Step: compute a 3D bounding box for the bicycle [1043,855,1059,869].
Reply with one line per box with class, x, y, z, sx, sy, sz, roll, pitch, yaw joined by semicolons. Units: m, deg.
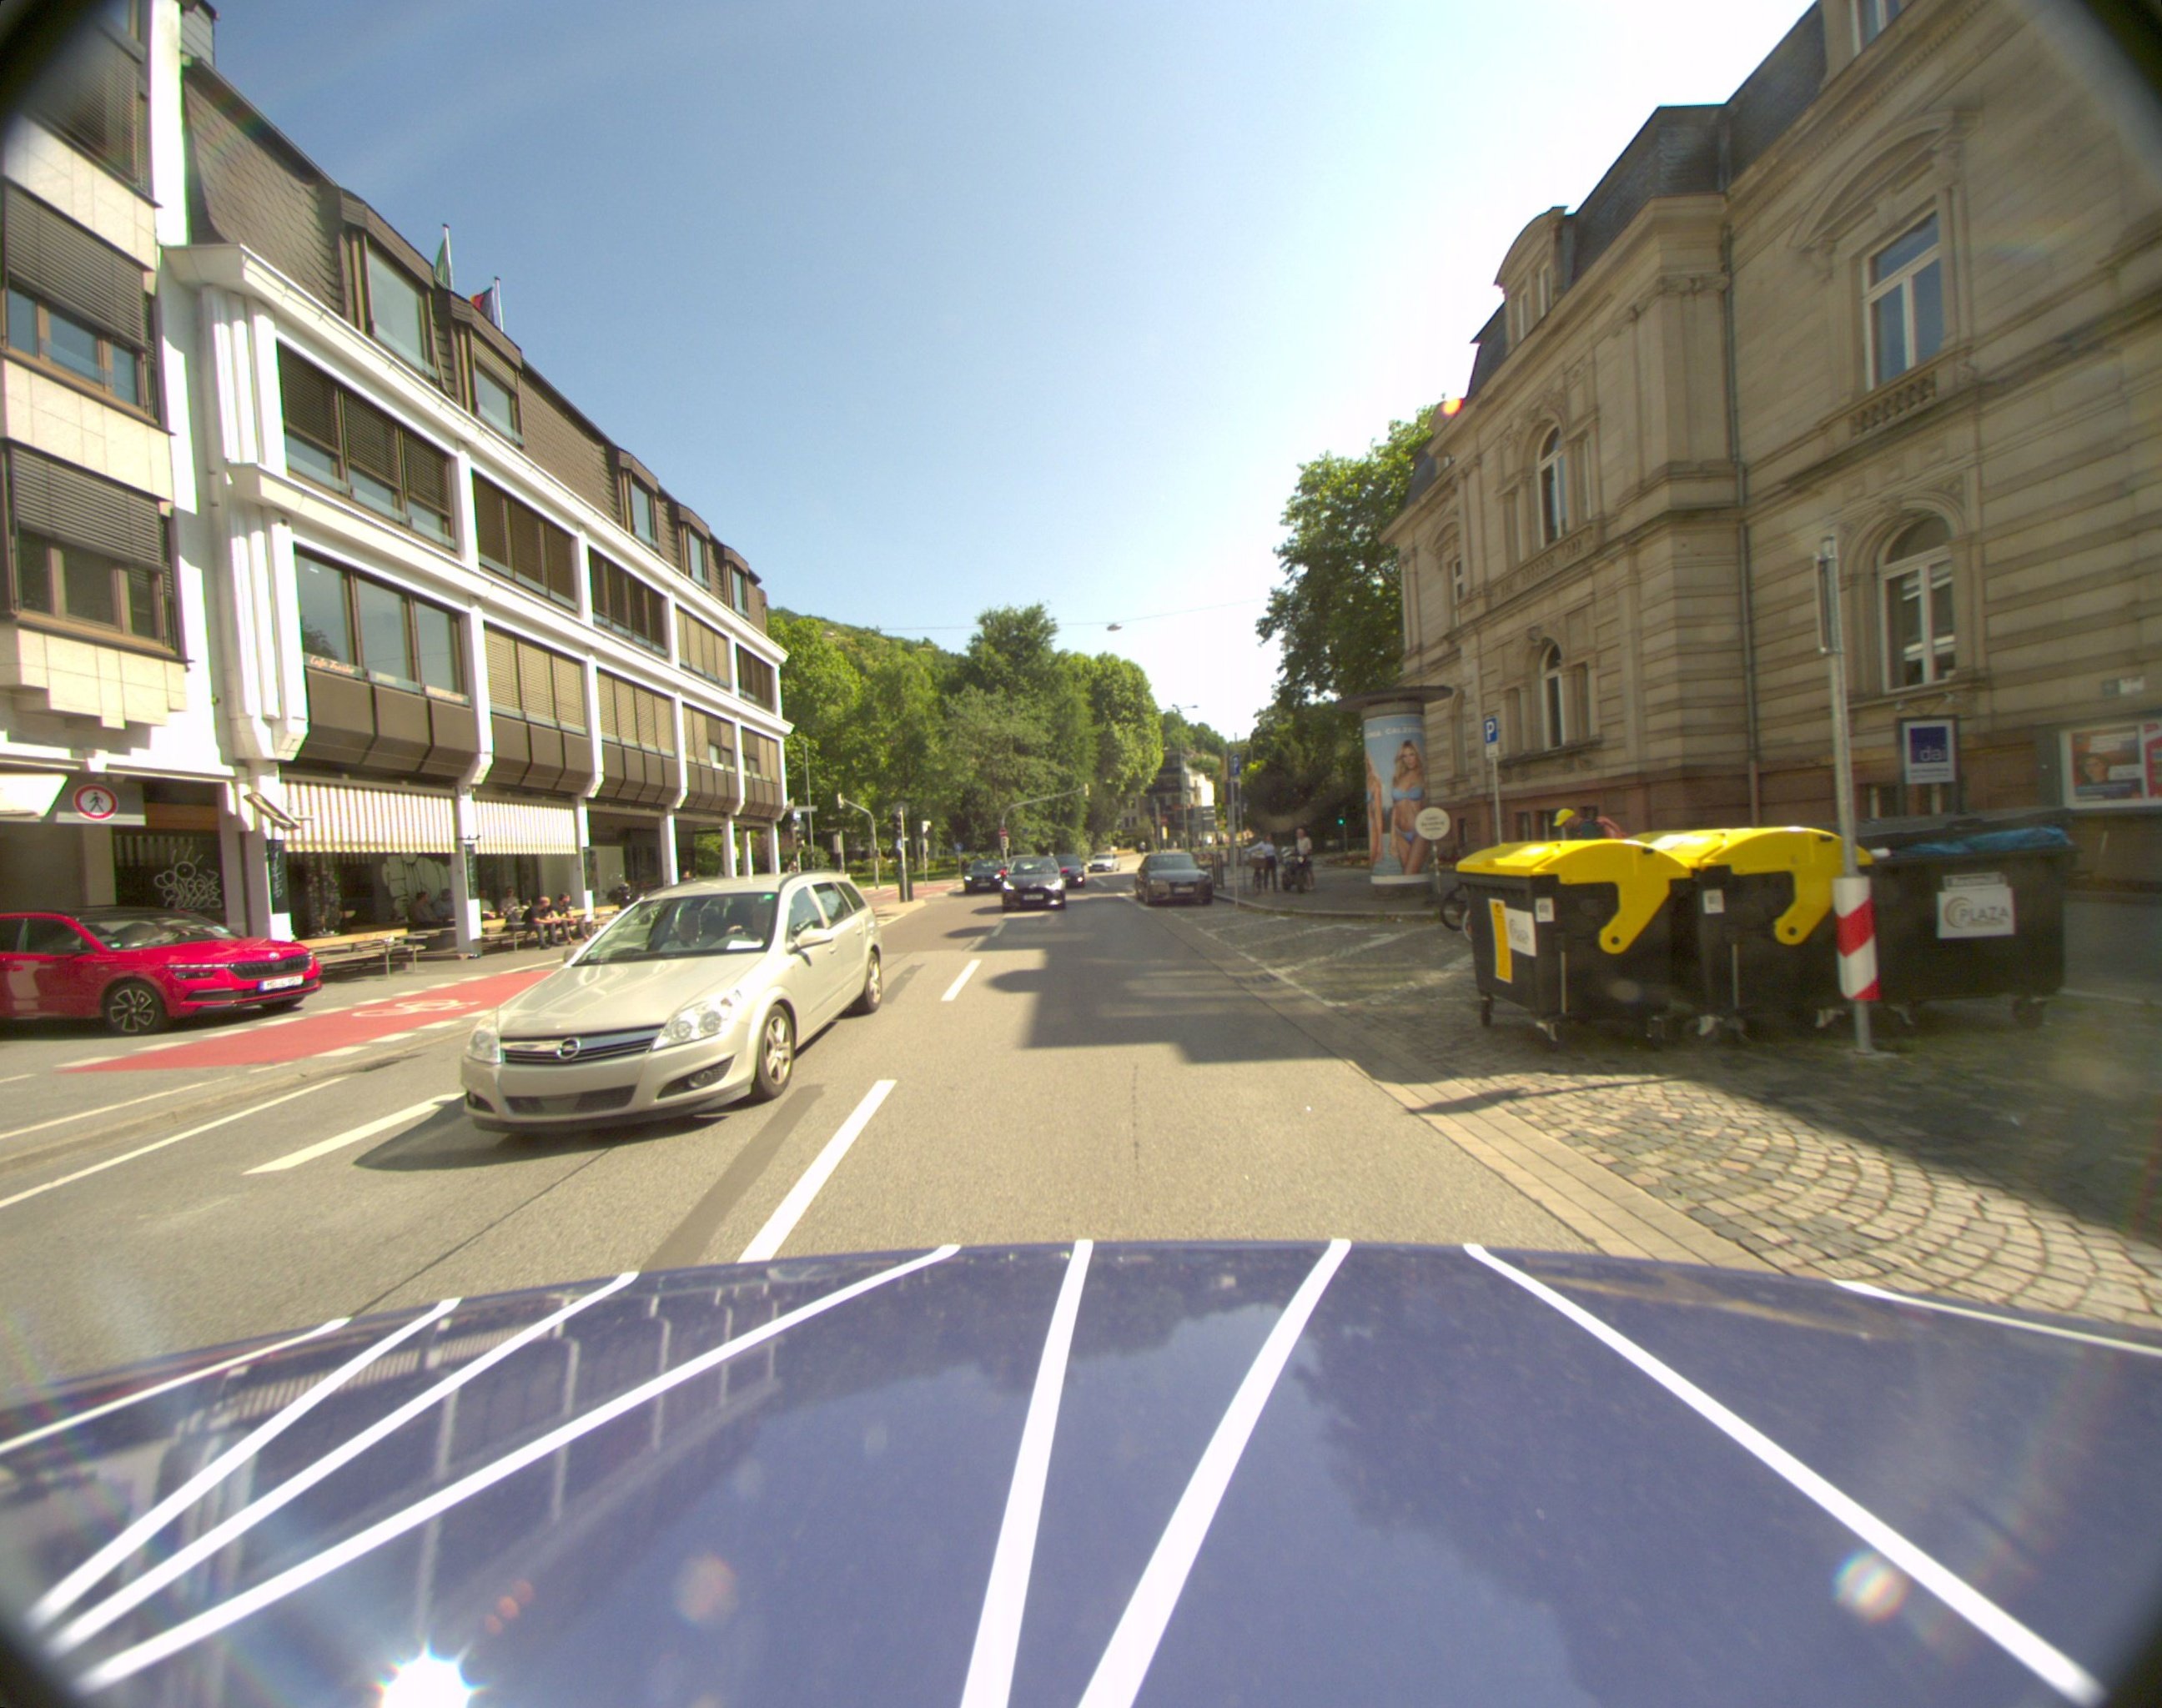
bicycle;-2.584;0.655;66.184;0.782;1.114;1.679;-3;1;19

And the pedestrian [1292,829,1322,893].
pedestrian;6.101;0.163;20.542;0.550;1.656;0.937;-3;2;7

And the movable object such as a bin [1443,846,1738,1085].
movable object such as a bin;3.577;0.720;5.553;1.126;1.442;1.439;-5;0;5

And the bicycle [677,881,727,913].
bicycle;-14.188;1.620;28.457;1.720;1.114;0.278;-2;1;6

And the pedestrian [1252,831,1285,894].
pedestrian;5.199;0.234;21.095;0.696;1.686;0.690;-3;2;1

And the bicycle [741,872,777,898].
bicycle;-14.006;1.334;33.110;0.308;1.059;1.474;-2;1;34

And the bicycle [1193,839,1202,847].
bicycle;17.668;-1.671;115.117;0.758;1.114;2.004;-2;3;26

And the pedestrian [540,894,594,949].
pedestrian;-12.329;1.610;18.234;0.712;1.210;0.697;-3;2;7

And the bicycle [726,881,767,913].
bicycle;-13.015;1.651;29.638;0.277;1.114;2.244;-3;0;7

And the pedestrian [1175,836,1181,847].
pedestrian;15.112;-1.978;118.213;0.710;1.663;0.535;-3;2;19

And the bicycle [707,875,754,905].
bicycle;-16.370;1.667;35.501;1.862;1.309;0.529;-3;0;-40

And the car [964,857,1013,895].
car;-4.056;0.915;34.011;1.849;1.421;4.210;-3;1;-3

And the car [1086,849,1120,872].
car;1.668;0.456;56.970;1.940;1.421;4.551;-3;1;9

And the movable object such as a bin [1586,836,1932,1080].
movable object such as a bin;4.704;0.658;5.467;1.126;1.442;1.439;-5;0;5

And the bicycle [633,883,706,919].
bicycle;-14.554;1.662;26.888;2.243;1.114;0.277;-4;1;-8

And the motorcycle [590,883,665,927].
motorcycle;-14.547;1.632;24.373;2.237;1.283;0.950;-2;2;27

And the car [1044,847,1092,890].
car;-0.568;0.598;33.587;1.890;1.674;4.141;-4;0;-1

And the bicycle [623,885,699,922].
bicycle;-14.505;1.686;26.270;2.244;1.090;0.277;-4;1;-15

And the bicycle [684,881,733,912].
bicycle;-14.153;1.627;28.853;1.720;1.114;0.278;-2;1;6

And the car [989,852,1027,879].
car;-4.377;0.657;46.189;1.941;1.421;4.341;-3;1;-1

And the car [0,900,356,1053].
car;-12.349;1.540;9.815;4.055;1.486;1.841;-3;3;0

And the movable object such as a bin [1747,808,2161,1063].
movable object such as a bin;5.850;0.500;5.250;1.211;1.442;1.364;-5;0;5

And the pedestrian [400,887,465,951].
pedestrian;-15.187;1.508;17.813;0.815;1.389;0.696;-4;2;-3

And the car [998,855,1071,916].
car;-1.332;0.829;21.891;1.811;1.443;3.952;-4;1;-3

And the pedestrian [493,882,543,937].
pedestrian;-15.335;1.512;20.713;0.713;1.389;0.696;-3;2;-2

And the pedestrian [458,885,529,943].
pedestrian;-15.283;1.553;19.801;0.898;1.343;1.105;-3;2;-2

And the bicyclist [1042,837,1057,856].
bicyclist;-2.734;-0.672;66.011;0.866;1.566;0.944;-3;2;17

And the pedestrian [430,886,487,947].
pedestrian;-15.272;1.514;18.653;0.713;1.389;0.696;-3;2;-2

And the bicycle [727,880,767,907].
bicycle;-14.079;1.654;32.023;1.474;1.059;0.376;-3;1;-45

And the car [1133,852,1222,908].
car;2.617;0.668;21.567;1.941;1.346;4.249;-3;0;0

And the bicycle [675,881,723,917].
bicycle;-13.863;1.627;27.567;1.549;1.200;0.278;-4;1;6

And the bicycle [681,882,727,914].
bicycle;-13.865;1.620;27.935;1.574;1.114;0.278;-2;1;6

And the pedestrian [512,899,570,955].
pedestrian;-12.339;1.659;17.378;0.712;1.166;0.697;-3;2;7

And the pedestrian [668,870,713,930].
pedestrian;-11.483;1.337;22.358;0.834;1.654;0.697;-3;2;7

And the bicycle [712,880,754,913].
bicycle;-13.451;1.636;29.439;0.277;1.114;2.244;-3;0;7

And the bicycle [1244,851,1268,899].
bicycle;4.795;0.538;20.905;0.430;1.114;2.244;-5;2;10

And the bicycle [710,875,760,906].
bicycle;-15.989;1.658;35.136;1.970;1.309;0.529;-3;0;-40

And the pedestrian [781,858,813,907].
pedestrian;-11.022;1.086;29.510;0.834;1.825;0.697;-3;2;7

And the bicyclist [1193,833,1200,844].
bicyclist;17.491;-2.288;114.851;0.765;1.627;0.944;-3;2;25

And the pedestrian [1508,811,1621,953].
pedestrian;6.283;0.345;9.907;0.891;1.715;0.748;-4;1;-8

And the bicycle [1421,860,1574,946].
bicycle;6.153;0.694;11.241;1.969;1.012;0.670;-6;2;-12

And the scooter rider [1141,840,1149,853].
scooter rider;8.178;-0.964;96.854;0.822;1.662;0.710;-2;2;20

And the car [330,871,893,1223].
car;-2.861;1.003;5.981;1.712;1.513;4.405;-4;0;-2

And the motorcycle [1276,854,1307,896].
motorcycle;5.677;0.540;20.563;0.454;0.992;2.161;-5;1;8
